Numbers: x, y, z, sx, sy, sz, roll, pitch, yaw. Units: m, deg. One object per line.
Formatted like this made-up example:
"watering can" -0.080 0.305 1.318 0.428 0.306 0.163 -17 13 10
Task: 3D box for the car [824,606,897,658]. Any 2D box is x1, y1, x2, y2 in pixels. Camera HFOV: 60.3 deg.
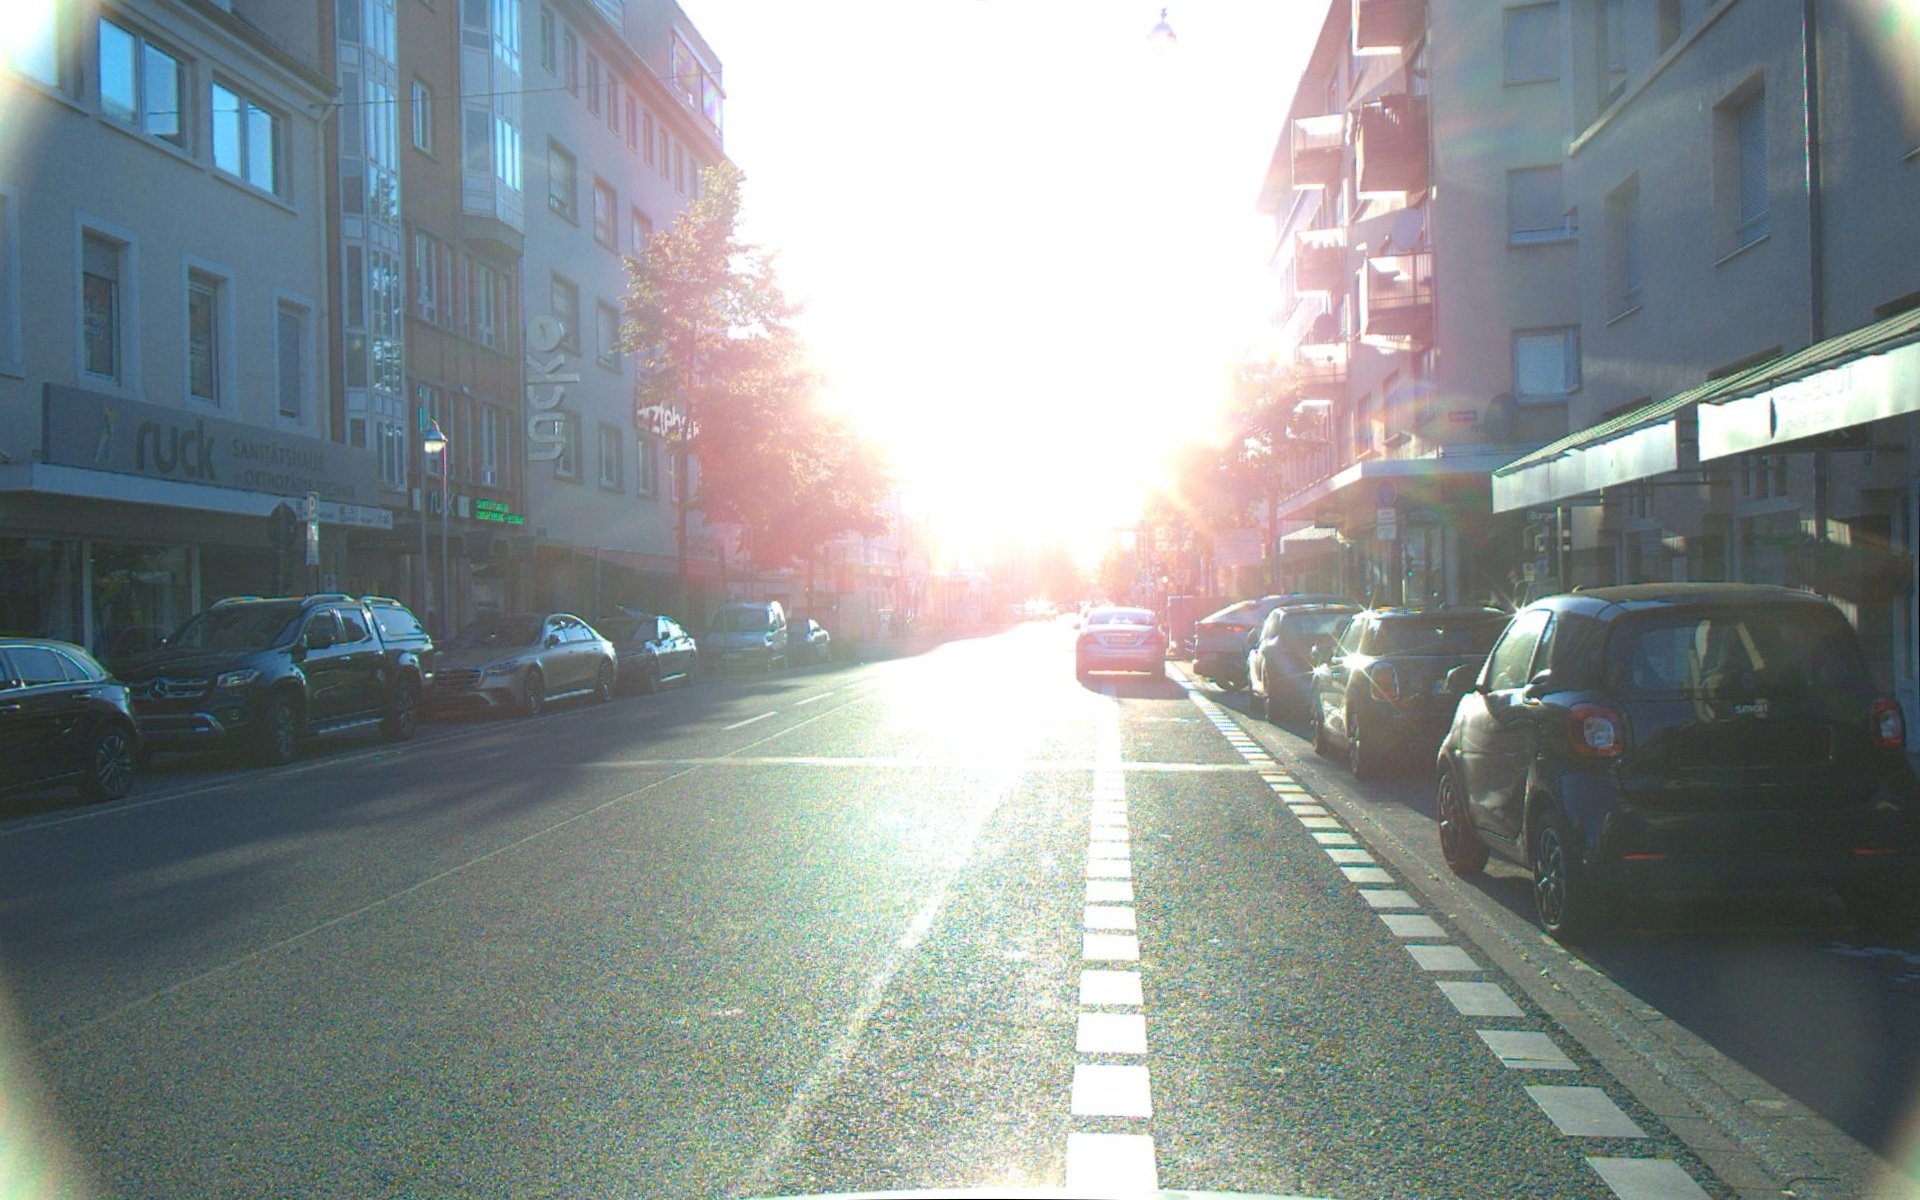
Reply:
"car" -3.103 0.984 52.174 1.654 1.529 3.790 -1 0 7

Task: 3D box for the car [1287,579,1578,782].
"car" 4.191 0.646 15.266 1.752 1.608 3.789 -1 0 3

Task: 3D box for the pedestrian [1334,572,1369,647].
"pedestrian" 9.691 0.228 40.960 0.703 1.822 0.667 -2 0 6

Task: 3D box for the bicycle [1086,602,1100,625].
"bicycle" 7.627 0.755 94.843 0.649 1.264 2.132 0 0 8

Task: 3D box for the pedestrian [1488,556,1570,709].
"pedestrian" 6.661 0.374 19.402 0.617 1.730 1.041 -2 0 4

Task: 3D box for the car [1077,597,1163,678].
"car" 3.317 0.728 33.968 1.654 1.529 3.790 1 0 7

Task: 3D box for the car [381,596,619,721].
"car" -6.976 0.823 25.679 1.951 1.684 4.631 -2 0 6

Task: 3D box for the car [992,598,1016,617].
"car" 3.719 0.606 139.761 1.654 1.529 3.790 -1 0 7

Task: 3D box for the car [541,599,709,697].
"car" -6.269 0.845 31.458 1.951 1.684 4.482 -1 0 4

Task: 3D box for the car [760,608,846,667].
"car" -4.415 1.040 47.115 1.654 1.529 3.790 -1 0 7

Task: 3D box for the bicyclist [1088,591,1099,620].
"bicyclist" 7.667 0.309 94.766 0.535 1.608 0.803 -2 0 8

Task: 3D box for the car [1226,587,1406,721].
"car" 4.682 0.656 22.244 1.752 1.608 3.789 -1 0 3

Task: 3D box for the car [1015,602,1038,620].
"car" 5.860 0.962 145.746 1.654 1.529 3.790 -1 0 7

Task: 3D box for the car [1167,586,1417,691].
"car" 5.856 0.627 29.018 4.269 1.727 1.857 0 0 -34

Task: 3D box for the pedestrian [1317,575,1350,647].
"pedestrian" 9.682 0.278 42.880 0.703 1.822 0.667 -2 0 6

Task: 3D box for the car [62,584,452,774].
"car" -7.840 0.785 19.169 1.952 1.808 5.321 -2 0 3

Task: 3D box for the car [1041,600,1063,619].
"car" 8.201 0.838 147.283 1.654 1.529 3.790 -1 0 7

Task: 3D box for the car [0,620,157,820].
"car" -8.289 1.002 12.789 1.650 1.514 4.413 -4 0 4

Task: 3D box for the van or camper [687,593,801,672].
"van or camper" -5.319 0.762 41.321 1.750 1.805 4.561 -1 0 7

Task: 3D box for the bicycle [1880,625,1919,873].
"bicycle" 4.985 0.750 7.667 0.546 1.227 1.979 -1 0 7

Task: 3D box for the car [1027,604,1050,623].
"car" 6.623 1.152 140.003 1.654 1.529 3.790 -1 0 7

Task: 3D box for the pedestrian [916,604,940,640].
"pedestrian" -1.859 1.274 95.765 1.006 2.048 0.821 -3 0 34

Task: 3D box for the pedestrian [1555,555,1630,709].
"pedestrian" 7.308 0.367 19.144 0.547 1.730 0.832 -2 0 4

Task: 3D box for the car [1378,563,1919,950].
"car" 3.569 0.655 8.976 1.752 1.608 3.968 -1 0 3
